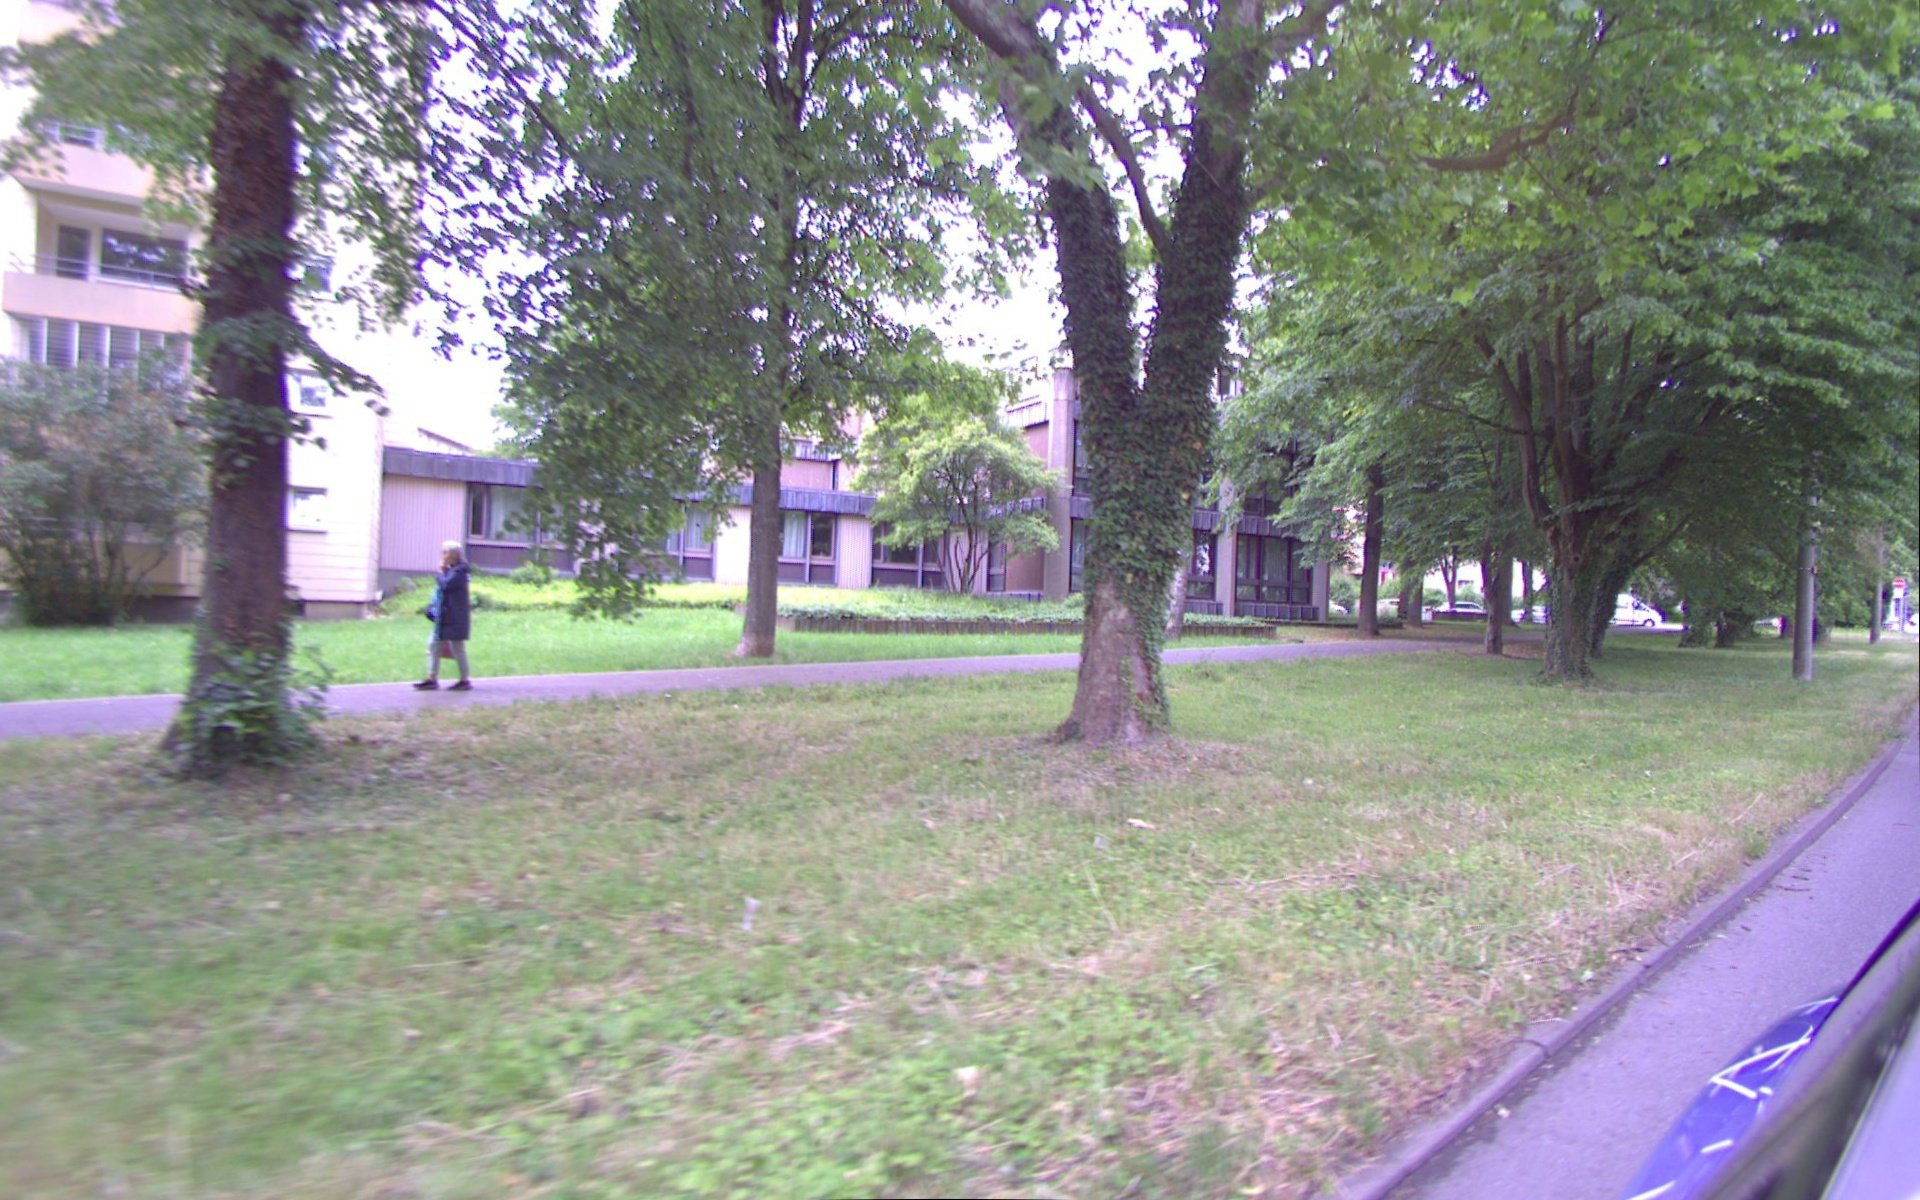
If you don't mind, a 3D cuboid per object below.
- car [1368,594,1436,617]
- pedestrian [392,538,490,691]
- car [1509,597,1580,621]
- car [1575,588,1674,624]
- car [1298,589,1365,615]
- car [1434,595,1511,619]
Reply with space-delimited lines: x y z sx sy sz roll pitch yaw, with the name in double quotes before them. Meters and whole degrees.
"car" 31.145 0.377 71.348 3.921 1.529 1.801 2 0 -3
"pedestrian" -6.060 0.152 11.818 0.801 1.707 0.768 1 1 -44
"car" 41.192 0.648 71.389 3.929 1.529 1.797 2 0 5
"car" 46.378 0.400 70.738 5.243 2.328 2.284 2 -1 12
"car" 25.970 0.132 70.833 3.922 1.696 1.801 2 -1 -3
"car" 36.126 0.508 71.416 4.515 1.529 1.800 2 0 -1
